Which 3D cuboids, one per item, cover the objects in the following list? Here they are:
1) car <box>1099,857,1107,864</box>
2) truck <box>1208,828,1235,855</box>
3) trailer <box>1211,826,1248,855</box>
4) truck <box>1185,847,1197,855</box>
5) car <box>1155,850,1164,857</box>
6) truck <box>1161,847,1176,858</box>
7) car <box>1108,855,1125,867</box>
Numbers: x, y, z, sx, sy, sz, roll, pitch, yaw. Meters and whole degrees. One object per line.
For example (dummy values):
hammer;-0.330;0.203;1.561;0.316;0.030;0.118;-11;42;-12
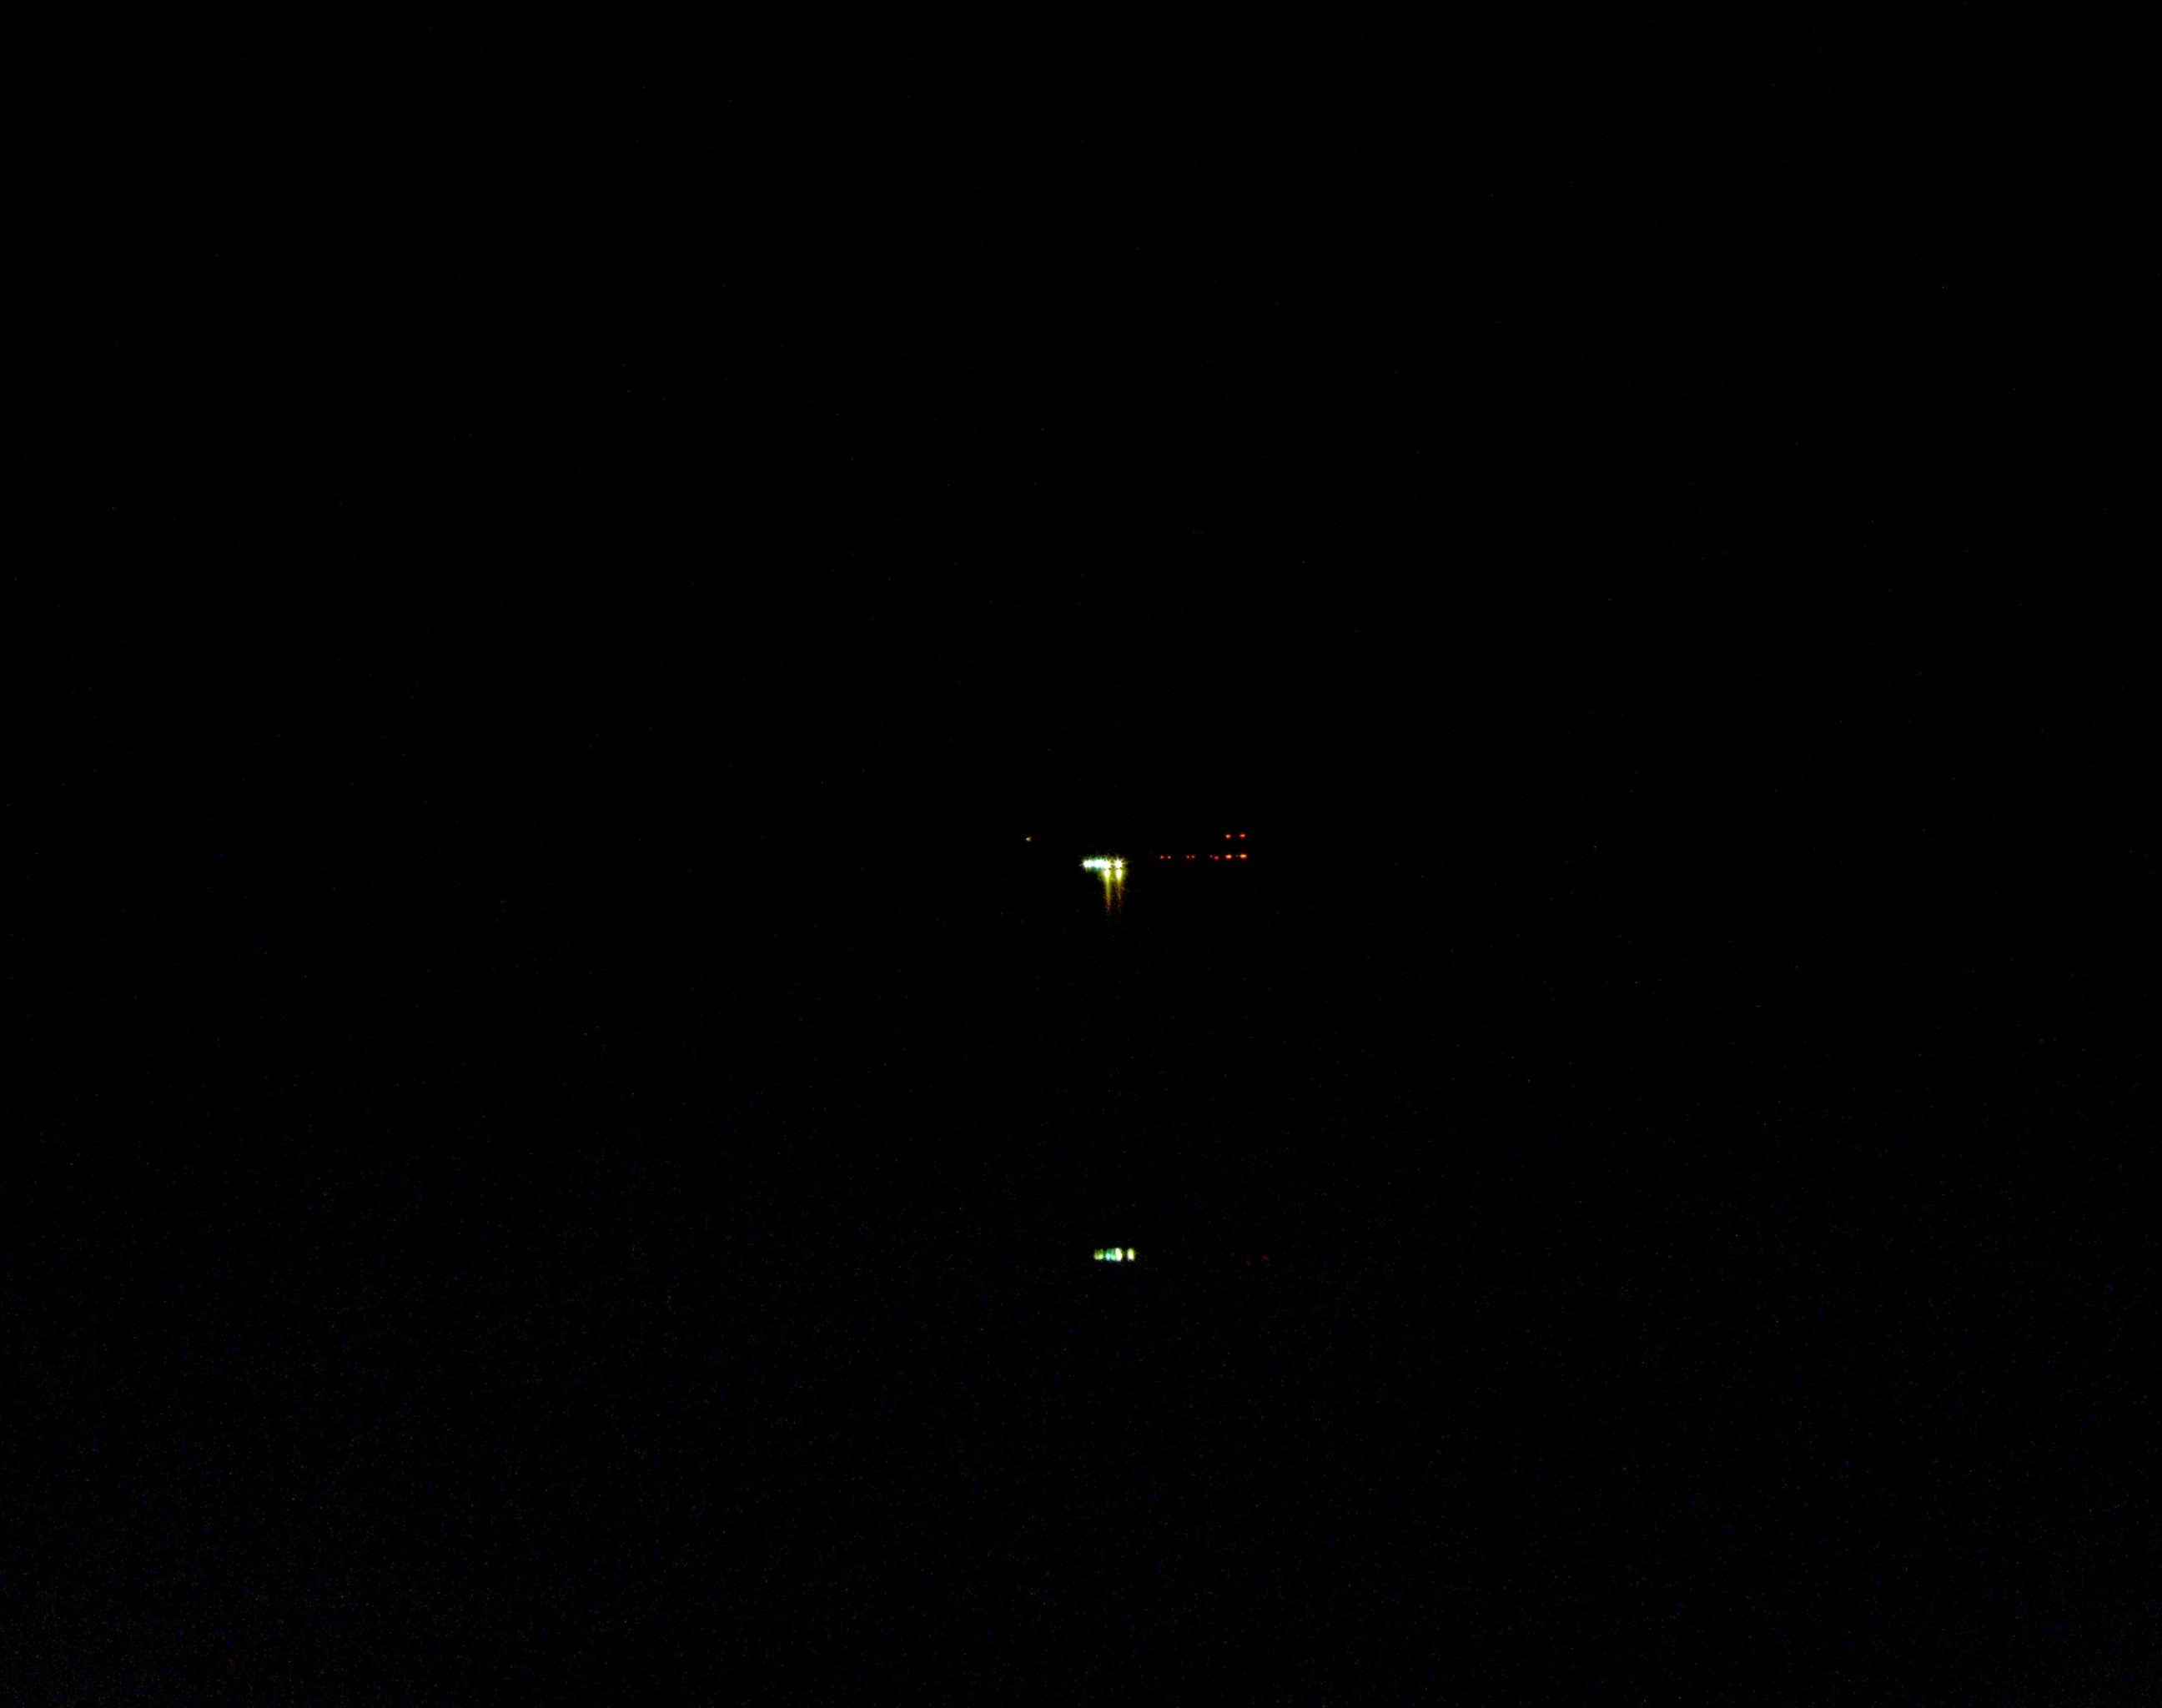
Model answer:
car;7.032;2.158;242.116;1.999;1.725;4.220;0;5;-3
truck;24.329;-2.041;132.026;3.333;4.407;6.707;-3;0;1
trailer;24.213;-2.056;124.583;3.333;4.407;14.024;-3;0;1
truck;23.923;-0.656;165.820;2.040;1.746;4.763;-2;0;1
car;24.421;-0.219;237.737;2.202;1.944;4.763;-5;0;1
truck;22.501;-0.349;195.665;2.880;2.626;7.886;-4;0;1
car;4.602;0.874;99.798;1.998;1.423;4.329;-5;0;1
